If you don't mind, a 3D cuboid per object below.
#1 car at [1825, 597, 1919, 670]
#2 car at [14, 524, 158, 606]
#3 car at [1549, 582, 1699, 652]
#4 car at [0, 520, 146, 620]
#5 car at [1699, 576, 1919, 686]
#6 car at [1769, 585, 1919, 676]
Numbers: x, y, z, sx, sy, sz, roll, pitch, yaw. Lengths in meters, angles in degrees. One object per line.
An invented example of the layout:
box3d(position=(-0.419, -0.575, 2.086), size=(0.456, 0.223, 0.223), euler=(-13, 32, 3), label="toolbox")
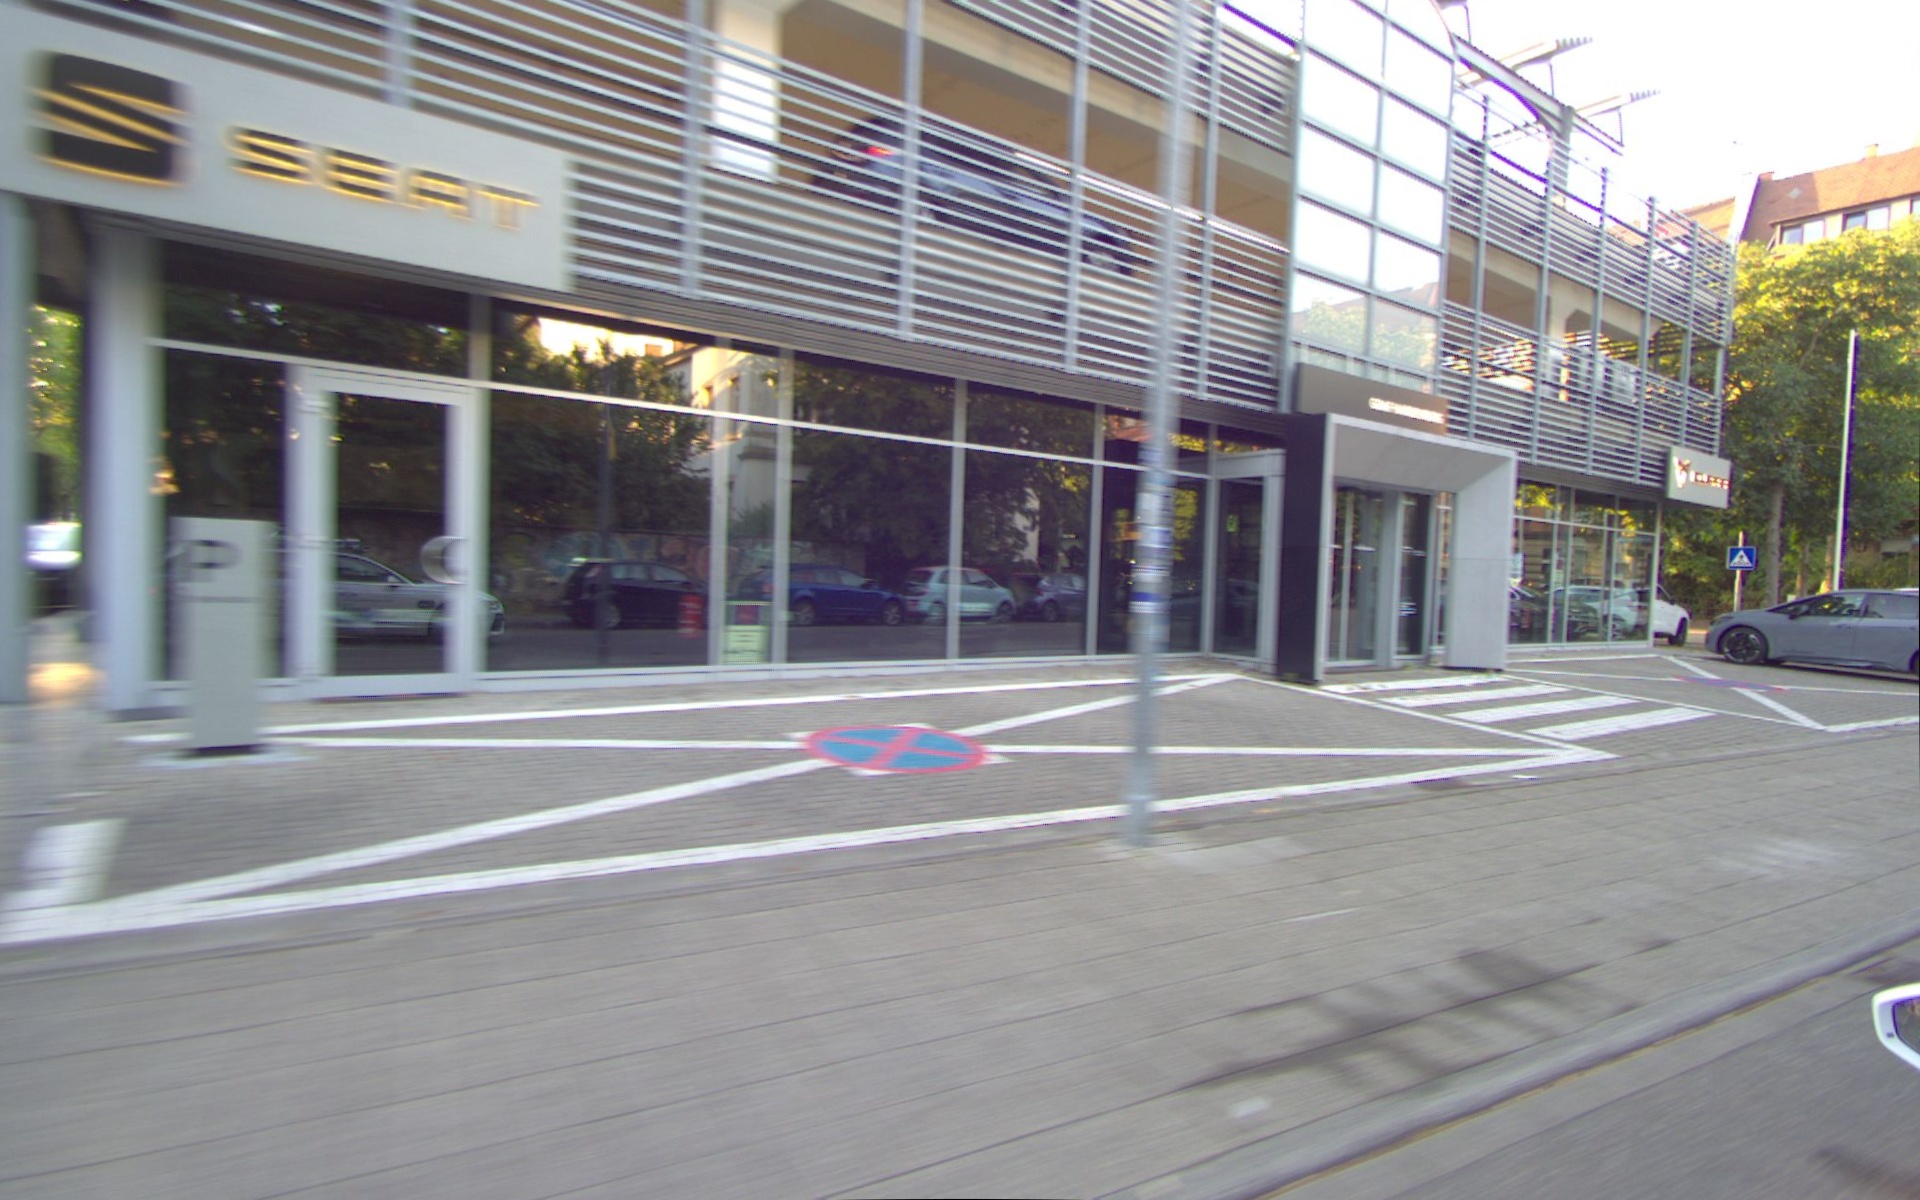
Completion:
box3d(position=(22.052, 0.814, 22.200), size=(1.900, 1.495, 4.020), euler=(0, 4, -33), label="car")
box3d(position=(-17.915, -0.809, 20.763), size=(1.670, 1.493, 3.804), euler=(-3, 6, -33), label="car")
box3d(position=(16.688, 0.411, 25.197), size=(4.182, 1.571, 1.690), euler=(1, 2, -36), label="car")
box3d(position=(-15.055, -0.555, 16.826), size=(1.768, 1.493, 3.804), euler=(-3, 4, -33), label="car")
box3d(position=(16.047, 0.514, 17.953), size=(1.892, 1.640, 4.106), euler=(0, 4, -31), label="car")
box3d(position=(18.618, 0.593, 19.585), size=(1.745, 1.640, 4.045), euler=(0, 2, -31), label="car")
